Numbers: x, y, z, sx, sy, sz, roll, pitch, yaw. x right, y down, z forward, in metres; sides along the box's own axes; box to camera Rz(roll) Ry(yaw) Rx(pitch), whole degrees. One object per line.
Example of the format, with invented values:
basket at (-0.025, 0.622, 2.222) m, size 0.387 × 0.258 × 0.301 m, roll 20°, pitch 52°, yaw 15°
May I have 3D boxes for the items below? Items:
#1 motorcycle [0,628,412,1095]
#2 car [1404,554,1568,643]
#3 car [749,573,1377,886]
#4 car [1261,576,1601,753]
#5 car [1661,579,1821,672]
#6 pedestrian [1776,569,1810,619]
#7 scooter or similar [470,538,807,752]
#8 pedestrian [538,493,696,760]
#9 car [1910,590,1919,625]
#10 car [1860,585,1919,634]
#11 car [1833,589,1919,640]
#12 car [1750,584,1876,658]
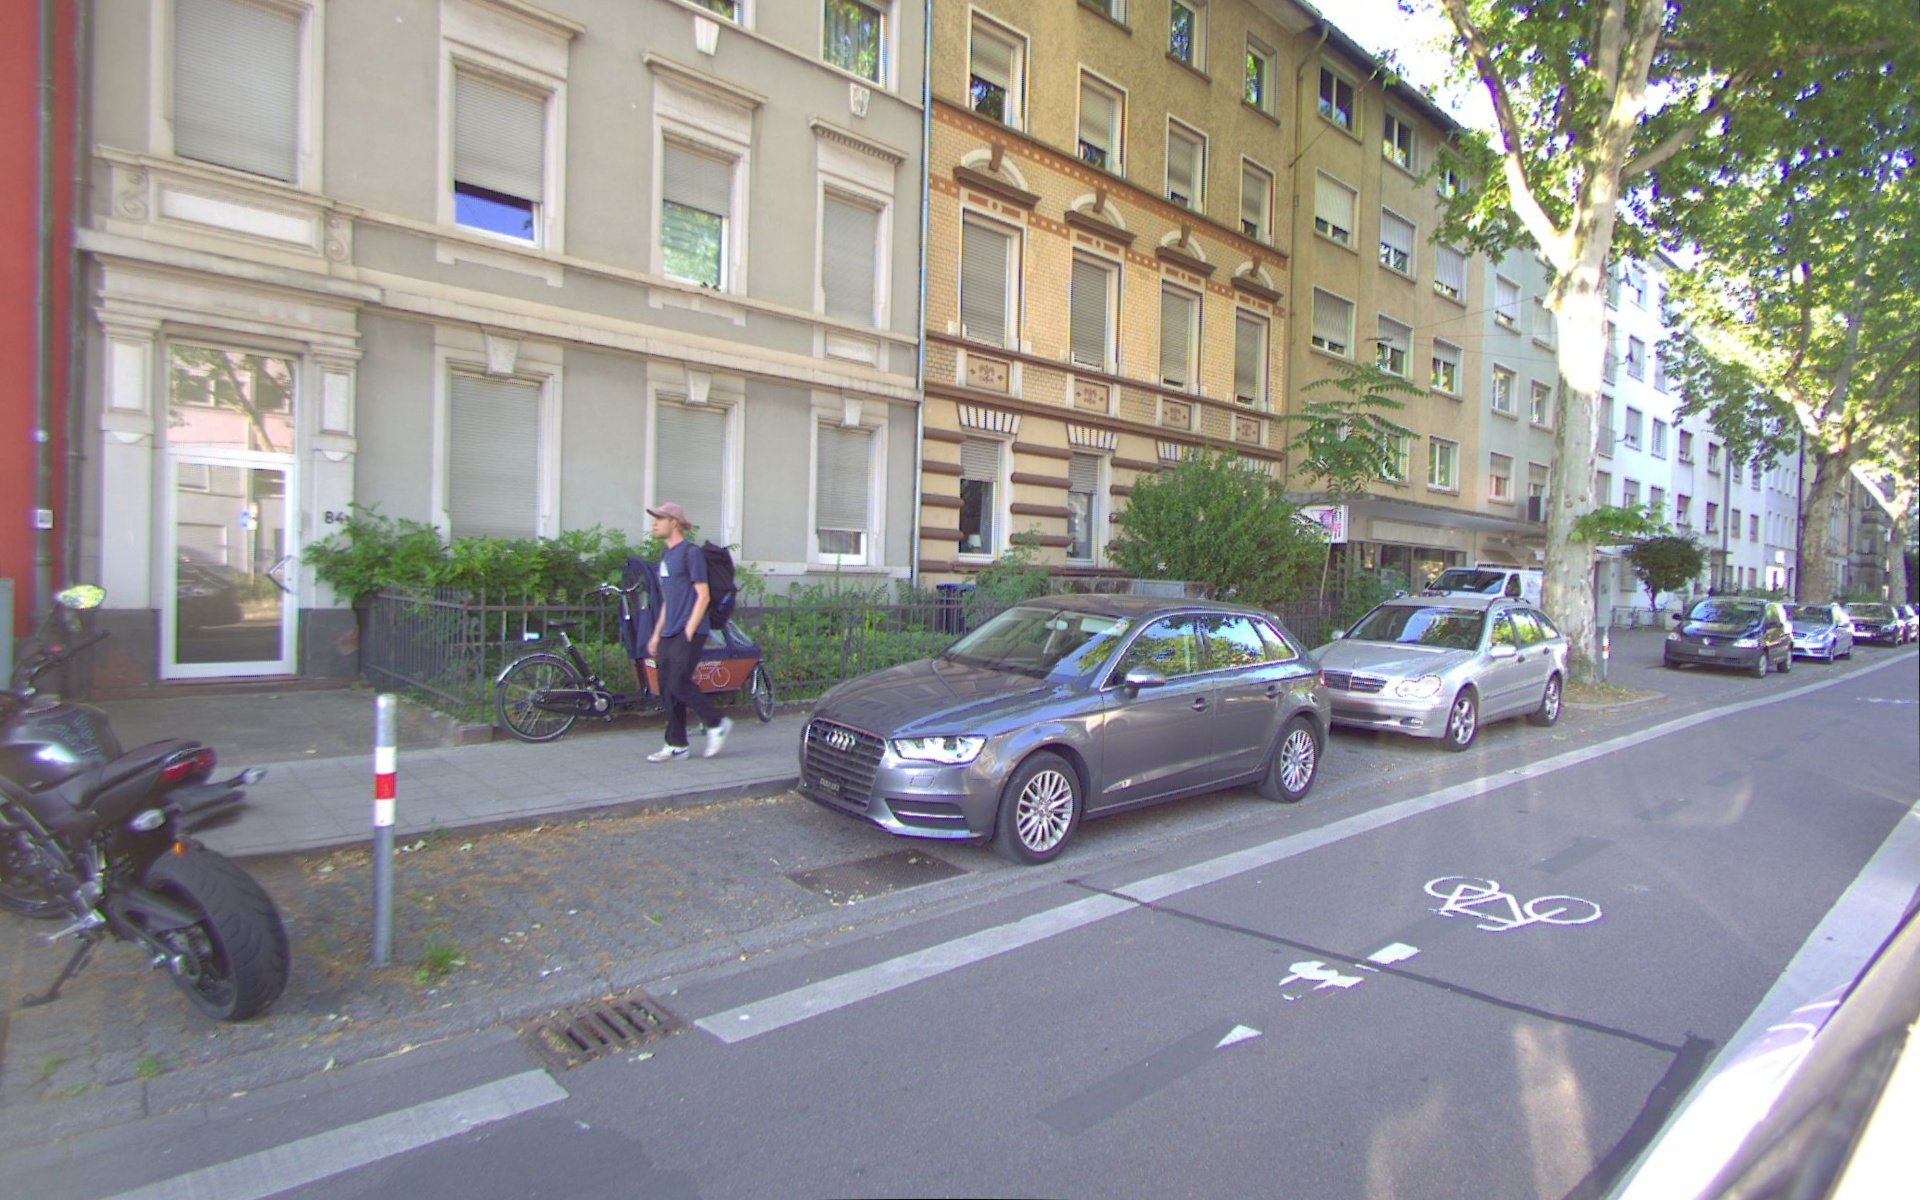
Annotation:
motorcycle at (-3.027, 0.758, 3.578) m, size 2.188 × 1.124 × 0.659 m, roll 4°, pitch 2°, yaw 23°
car at (12.790, -0.075, 24.490) m, size 4.597 × 1.897 × 1.932 m, roll 0°, pitch 4°, yaw -42°
car at (0.923, 0.605, 6.967) m, size 4.293 × 1.418 × 1.802 m, roll 0°, pitch 4°, yaw -41°
car at (5.322, 0.547, 11.145) m, size 4.436 × 1.472 × 1.801 m, roll 0°, pitch 4°, yaw -43°
car at (16.173, 0.450, 20.879) m, size 4.295 × 1.628 × 1.802 m, roll 0°, pitch 4°, yaw -42°
pedestrian at (27.545, -0.210, 33.469) m, size 0.689 × 1.600 × 0.728 m, roll -1°, pitch 2°, yaw -41°
scooter or similar at (-2.485, 0.298, 8.106) m, size 2.500 × 1.488 × 0.666 m, roll 0°, pitch 2°, yaw -41°
pedestrian at (-2.402, 0.142, 7.070) m, size 0.802 × 1.731 × 0.728 m, roll -1°, pitch 4°, yaw -41°
car at (46.707, 0.398, 48.129) m, size 4.034 × 1.628 × 1.802 m, roll 0°, pitch 4°, yaw -42°
car at (35.453, 0.325, 38.090) m, size 4.295 × 1.628 × 1.802 m, roll 0°, pitch 4°, yaw -42°
car at (31.492, 0.456, 34.657) m, size 4.295 × 1.520 × 1.802 m, roll 0°, pitch 4°, yaw -42°
car at (21.811, 0.469, 25.830) m, size 4.295 × 1.628 × 1.802 m, roll 0°, pitch 4°, yaw -42°
